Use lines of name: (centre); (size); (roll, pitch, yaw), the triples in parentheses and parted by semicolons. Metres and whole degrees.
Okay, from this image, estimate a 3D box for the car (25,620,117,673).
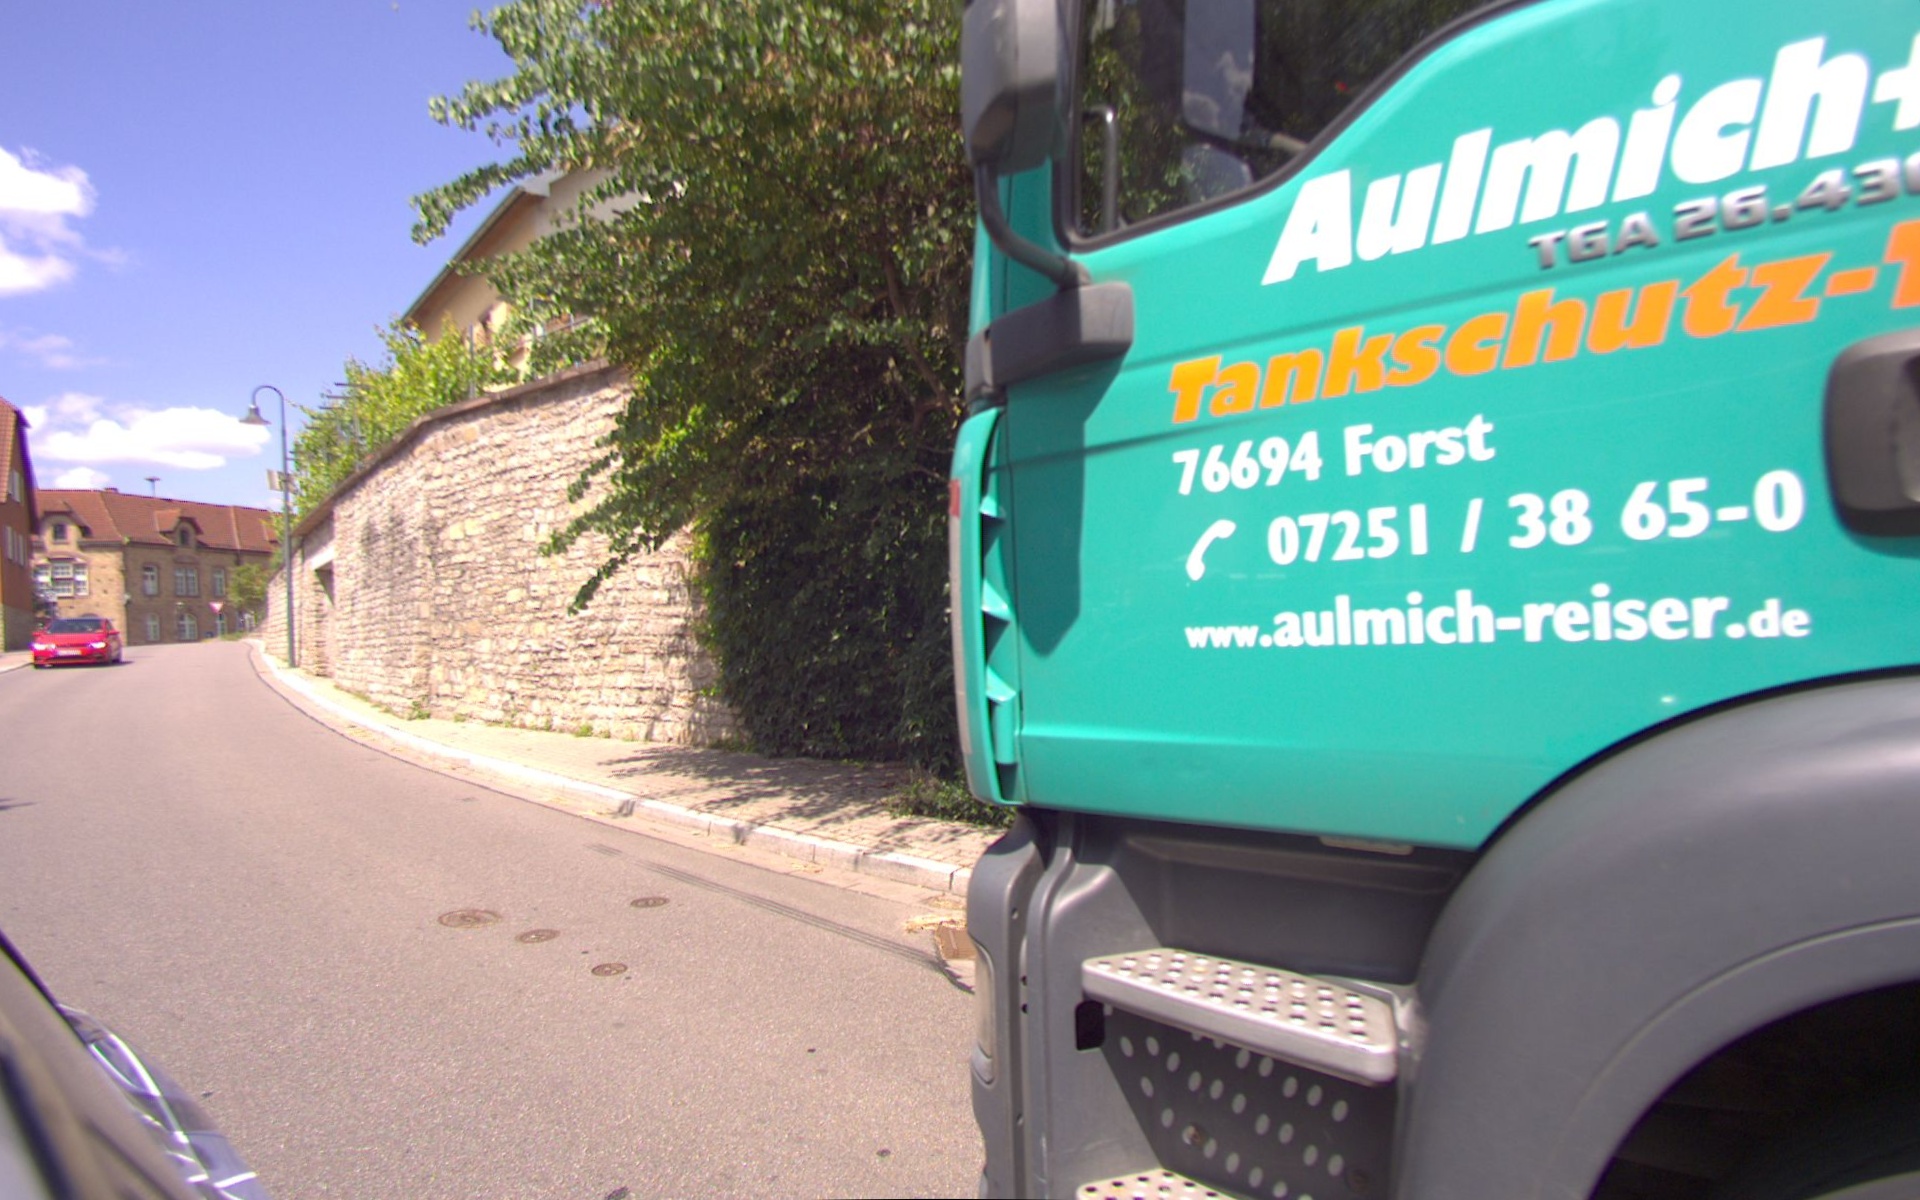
car: (-25.363, 1.277, 28.974); (1.643, 1.362, 3.502); (-1, 0, -36)
